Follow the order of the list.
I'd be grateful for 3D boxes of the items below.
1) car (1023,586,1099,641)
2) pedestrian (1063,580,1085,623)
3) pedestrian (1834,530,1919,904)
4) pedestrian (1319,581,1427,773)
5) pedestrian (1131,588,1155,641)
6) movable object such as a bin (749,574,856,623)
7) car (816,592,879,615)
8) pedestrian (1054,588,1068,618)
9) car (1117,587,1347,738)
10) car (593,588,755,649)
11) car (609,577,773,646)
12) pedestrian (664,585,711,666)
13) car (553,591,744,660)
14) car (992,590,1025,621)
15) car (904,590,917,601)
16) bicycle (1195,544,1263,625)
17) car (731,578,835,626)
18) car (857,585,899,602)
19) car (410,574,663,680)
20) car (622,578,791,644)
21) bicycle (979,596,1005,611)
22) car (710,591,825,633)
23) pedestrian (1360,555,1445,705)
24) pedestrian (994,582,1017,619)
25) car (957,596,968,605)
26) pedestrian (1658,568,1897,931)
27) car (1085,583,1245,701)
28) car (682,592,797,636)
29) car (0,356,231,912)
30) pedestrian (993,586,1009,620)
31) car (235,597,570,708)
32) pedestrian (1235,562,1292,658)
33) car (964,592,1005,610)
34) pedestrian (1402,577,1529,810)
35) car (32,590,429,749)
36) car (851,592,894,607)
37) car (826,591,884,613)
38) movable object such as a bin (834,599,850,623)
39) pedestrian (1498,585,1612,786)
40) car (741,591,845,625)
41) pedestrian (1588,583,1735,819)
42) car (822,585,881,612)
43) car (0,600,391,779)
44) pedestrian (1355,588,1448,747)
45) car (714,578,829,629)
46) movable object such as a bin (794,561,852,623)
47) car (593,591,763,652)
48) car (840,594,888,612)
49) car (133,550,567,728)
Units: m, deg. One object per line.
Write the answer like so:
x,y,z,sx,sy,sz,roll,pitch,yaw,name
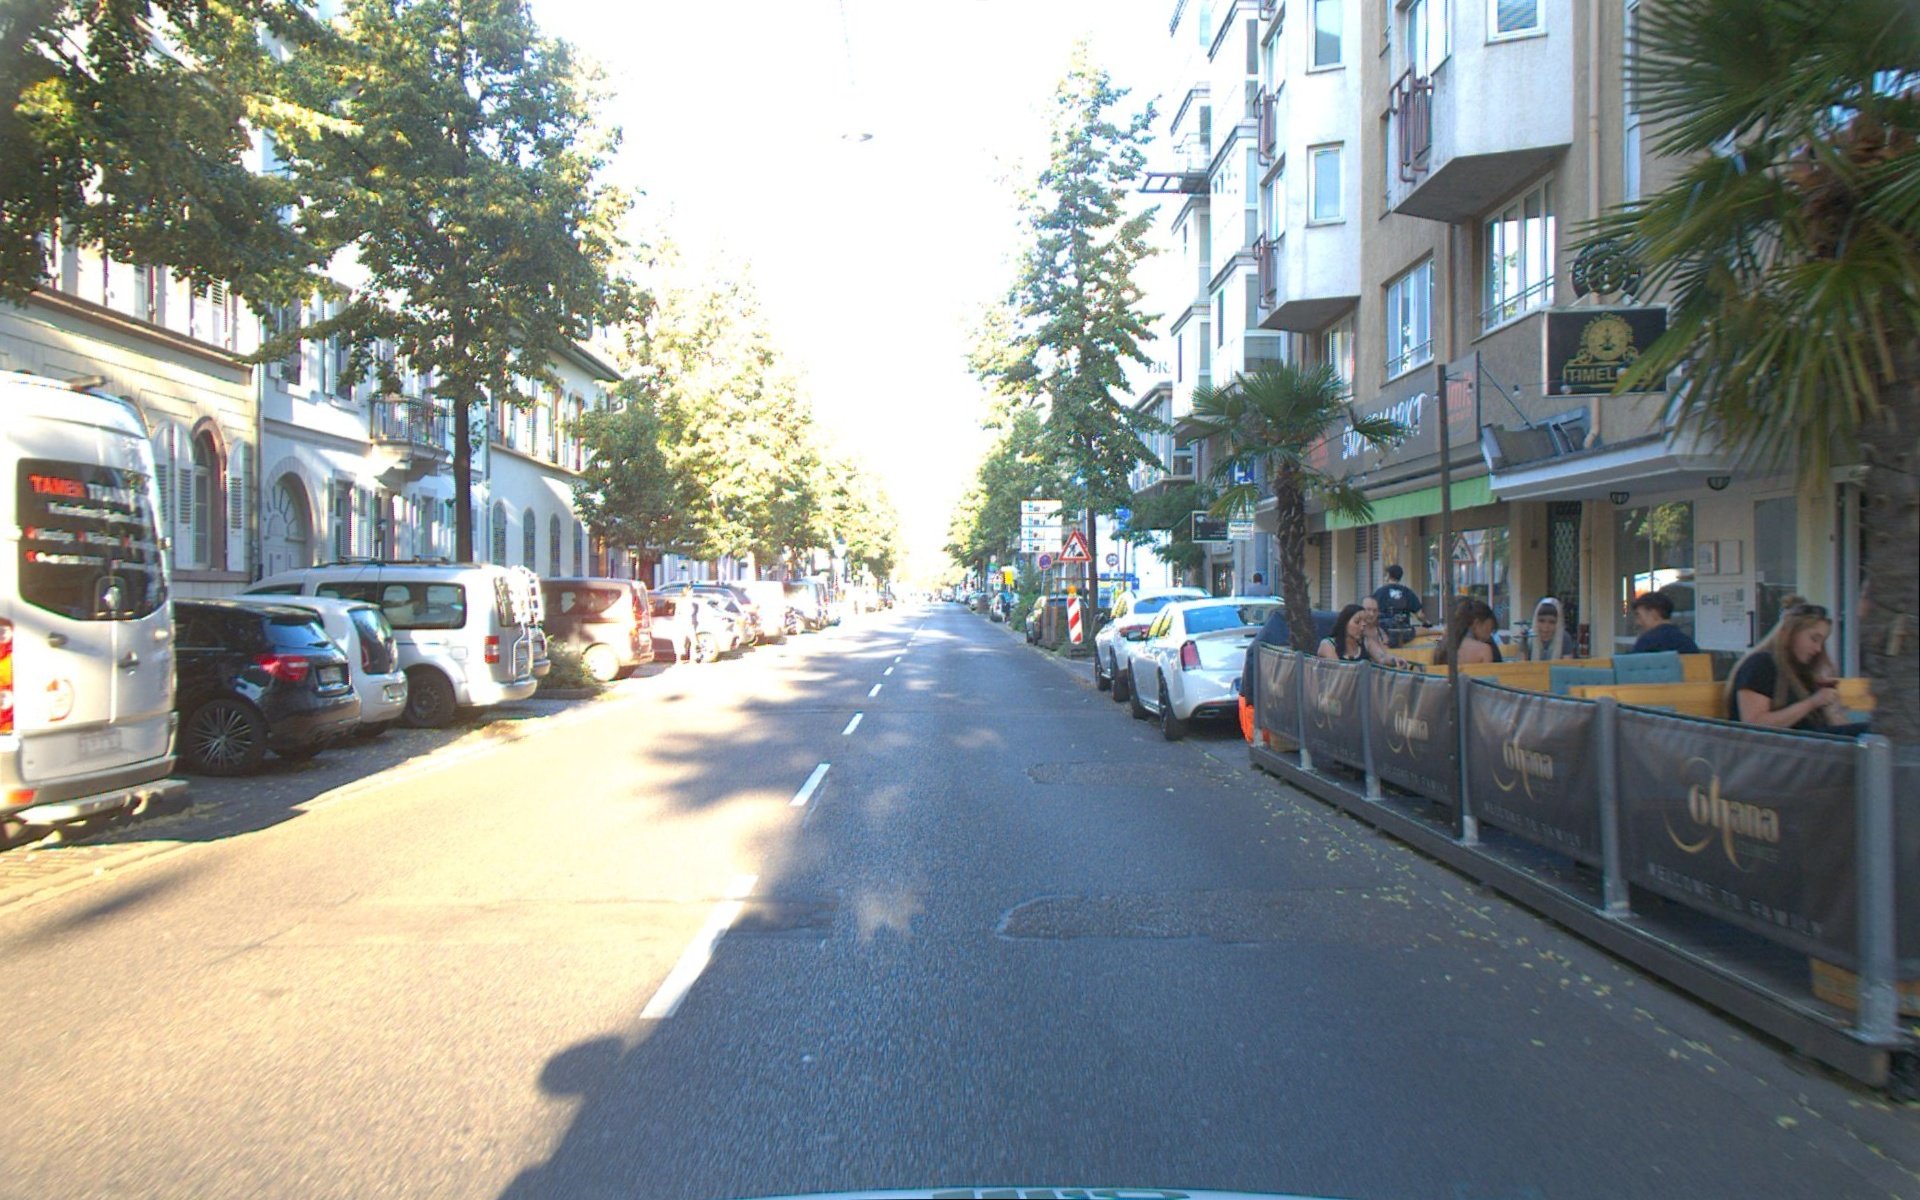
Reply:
3.037,0.385,50.742,1.792,1.514,4.847,-2,0,-3,car
5.124,0.081,74.562,0.806,1.886,1.097,-3,0,-2,pedestrian
4.493,0.497,7.392,0.693,1.626,0.795,-2,0,-1,pedestrian
3.016,0.545,12.131,0.565,1.342,0.704,-2,0,0,pedestrian
5.478,0.433,49.603,0.598,1.552,0.773,-1,0,0,pedestrian
-8.343,-0.102,88.101,2.273,2.539,5.719,0,0,42,movable object such as a bin
-8.141,0.237,119.539,4.454,1.568,1.810,1,0,-2,car
5.465,0.168,89.665,0.645,1.589,0.701,-3,0,-1,pedestrian
3.098,0.643,19.953,1.804,1.506,5.189,-3,0,-1,car
-7.617,0.480,44.345,3.953,1.582,1.965,0,0,2,car
-7.595,0.326,46.989,4.337,1.903,1.894,0,0,0,car
-5.689,0.532,34.559,0.810,1.667,0.827,-1,0,0,pedestrian
-6.912,0.554,36.981,3.977,1.487,1.685,0,0,-3,car
2.685,0.279,92.280,1.652,1.602,4.012,-3,0,0,car
-7.277,-0.603,243.959,1.716,1.567,3.303,0,0,0,car
4.518,-0.261,27.900,0.759,1.284,2.050,-2,0,0,bicycle
-7.722,0.091,72.461,4.394,2.010,1.964,1,0,-3,car
-8.812,-0.701,178.225,4.351,1.790,1.919,1,0,0,car
-7.564,0.465,29.809,4.052,1.838,1.807,0,0,1,car
-7.586,0.325,49.779,4.771,1.941,1.973,0,0,-1,car
2.406,0.246,123.943,1.918,1.092,0.704,0,0,31,bicycle
-7.308,0.456,63.023,4.242,1.527,1.840,1,0,-6,car
5.283,0.349,19.777,0.772,1.734,0.700,-1,0,-1,pedestrian
2.368,0.022,86.354,0.995,1.857,0.778,-3,0,-11,pedestrian
0.386,0.050,228.226,1.482,1.298,3.303,0,0,1,car
3.627,0.629,7.396,0.618,1.511,0.795,-2,0,-1,pedestrian
3.102,0.586,25.883,1.841,1.601,4.691,-3,0,0,car
-7.967,0.490,59.982,3.841,1.527,1.905,1,0,2,car
-7.241,0.100,8.972,5.543,2.667,2.171,1,0,-1,car
2.202,0.153,89.156,0.665,1.785,0.823,-1,0,-11,pedestrian
-7.614,0.699,22.815,4.067,1.465,1.594,0,0,0,car
5.928,0.187,32.340,0.839,1.826,0.996,-1,0,-4,pedestrian
2.201,0.112,148.666,1.645,1.616,3.800,1,0,42,car
3.176,0.571,10.438,0.565,1.409,0.603,-2,0,0,pedestrian
-7.355,0.677,16.948,3.303,1.492,1.711,1,0,-5,car
-9.073,-0.066,171.715,4.351,1.549,1.919,1,0,0,car
-8.422,0.176,132.755,4.478,1.727,2.060,1,0,0,car
-5.526,0.526,77.586,0.675,1.124,0.883,-1,0,1,movable object such as a bin
4.333,0.607,12.071,0.565,1.409,0.603,-2,0,0,pedestrian
-7.593,0.360,75.600,4.498,1.495,1.893,1,0,2,car
4.387,0.610,10.379,0.565,1.409,0.718,-2,0,0,pedestrian
-8.527,-0.116,130.071,4.478,1.996,1.990,1,0,-1,car
-7.191,0.736,14.314,3.907,1.429,1.749,1,-1,-2,car
3.658,0.549,13.731,0.565,1.265,0.603,-2,0,0,pedestrian
-7.618,0.128,67.166,4.391,2.010,2.068,0,0,0,car
-6.886,-0.397,83.716,2.571,3.021,5.302,0,0,-1,movable object such as a bin
-7.087,0.526,41.887,3.955,1.509,1.962,0,0,-1,car
-8.922,0.285,154.320,4.351,1.595,1.919,1,0,0,car
-7.106,0.434,19.597,4.407,1.987,1.919,0,0,1,car
